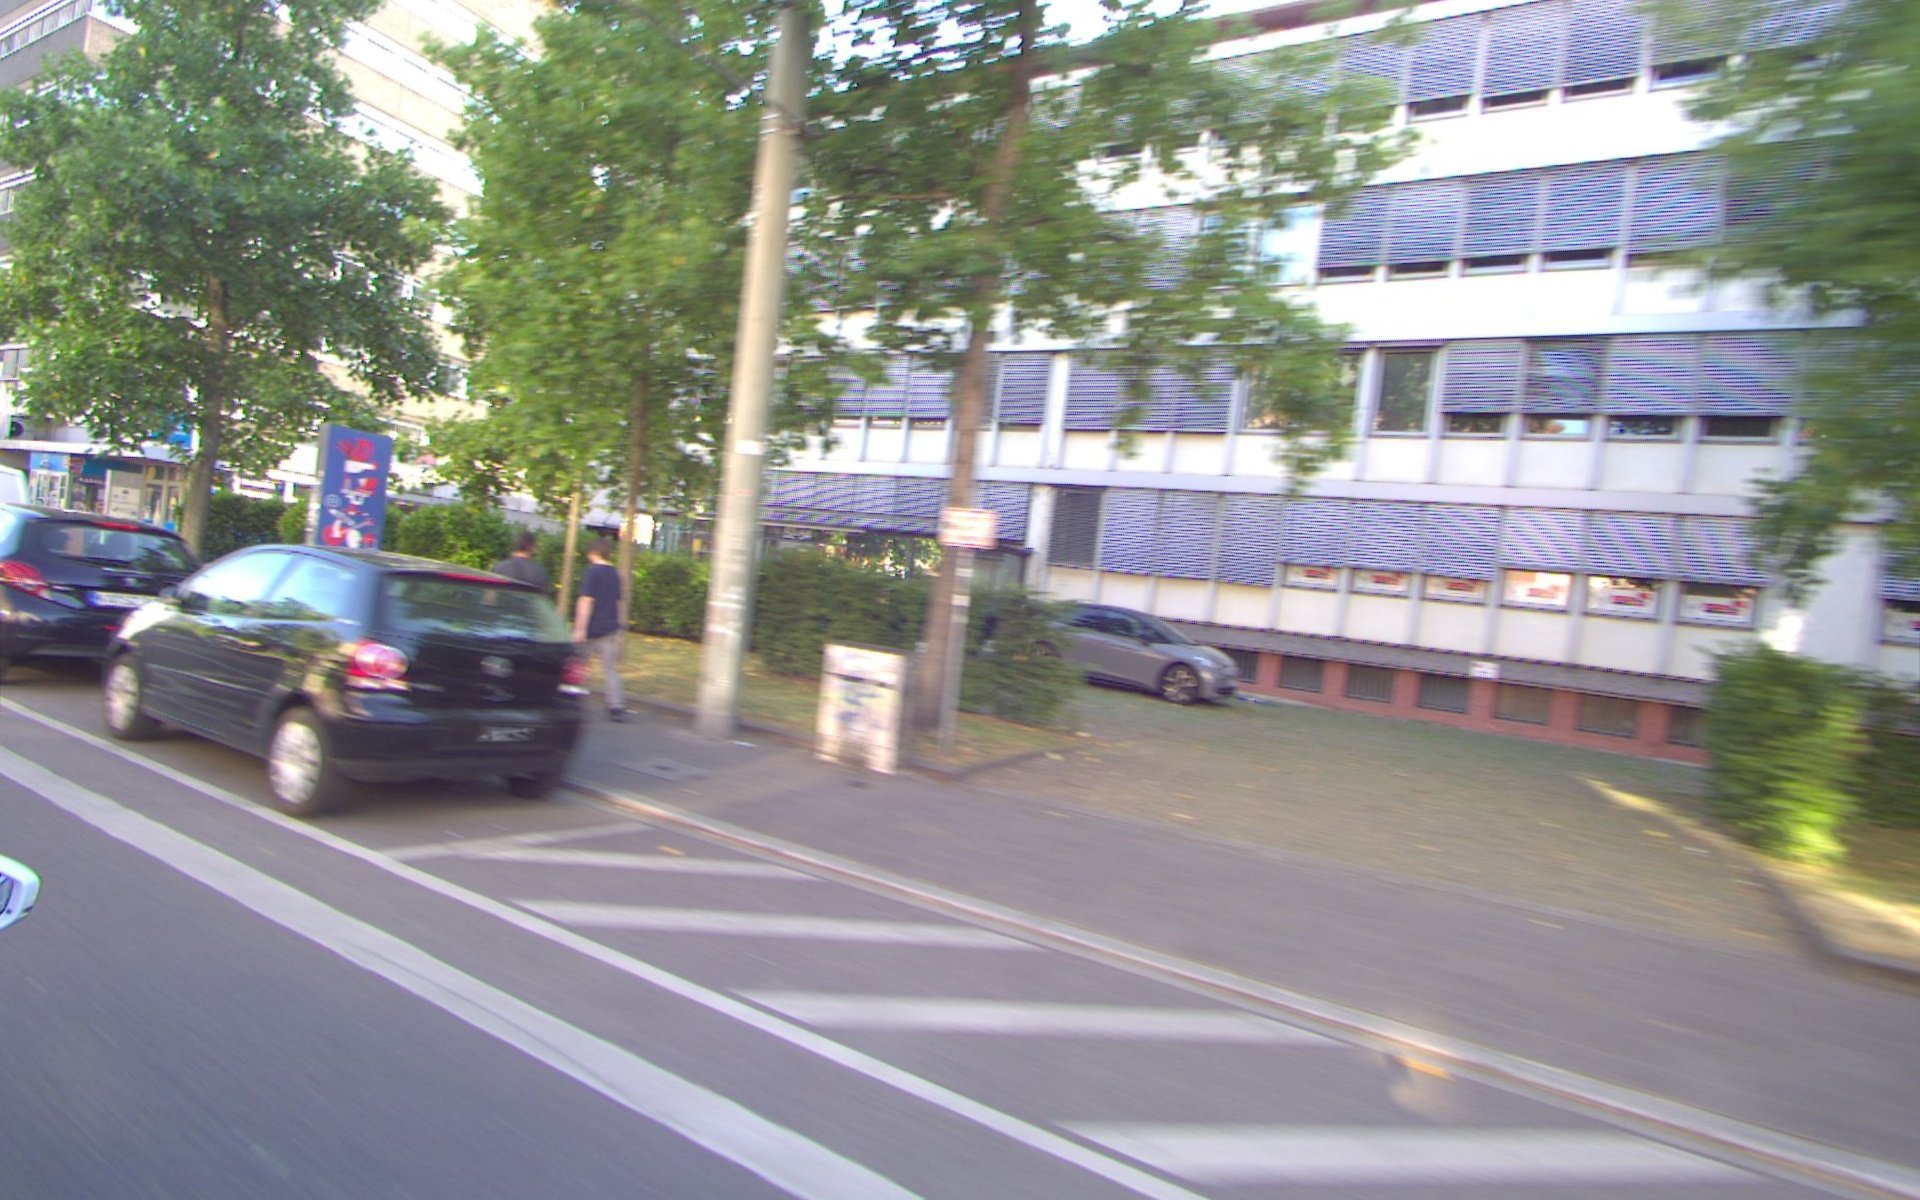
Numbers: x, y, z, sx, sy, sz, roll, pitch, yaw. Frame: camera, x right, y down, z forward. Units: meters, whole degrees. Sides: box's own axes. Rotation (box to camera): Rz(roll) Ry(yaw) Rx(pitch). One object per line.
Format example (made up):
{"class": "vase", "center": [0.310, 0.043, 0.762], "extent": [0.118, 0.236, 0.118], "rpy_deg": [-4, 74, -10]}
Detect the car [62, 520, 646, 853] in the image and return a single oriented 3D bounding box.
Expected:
{"class": "car", "center": [-4.157, 0.427, 6.744], "extent": [3.918, 1.448, 1.624], "rpy_deg": [7, -1, 32]}

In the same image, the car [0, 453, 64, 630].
{"class": "car", "center": [-13.321, -0.931, 12.517], "extent": [4.483, 2.039, 1.973], "rpy_deg": [7, 1, 32]}

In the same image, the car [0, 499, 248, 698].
{"class": "car", "center": [-8.579, -0.133, 9.385], "extent": [3.904, 1.491, 1.624], "rpy_deg": [7, -2, 31]}

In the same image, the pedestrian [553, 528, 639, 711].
{"class": "pedestrian", "center": [-3.606, 0.200, 9.961], "extent": [0.496, 1.733, 0.448], "rpy_deg": [5, 4, -41]}

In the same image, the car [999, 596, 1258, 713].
{"class": "car", "center": [3.168, 0.992, 19.130], "extent": [4.361, 1.513, 1.868], "rpy_deg": [8, 1, 29]}

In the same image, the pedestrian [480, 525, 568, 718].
{"class": "pedestrian", "center": [-4.069, 0.198, 9.386], "extent": [0.424, 1.730, 0.448], "rpy_deg": [9, 0, -41]}
